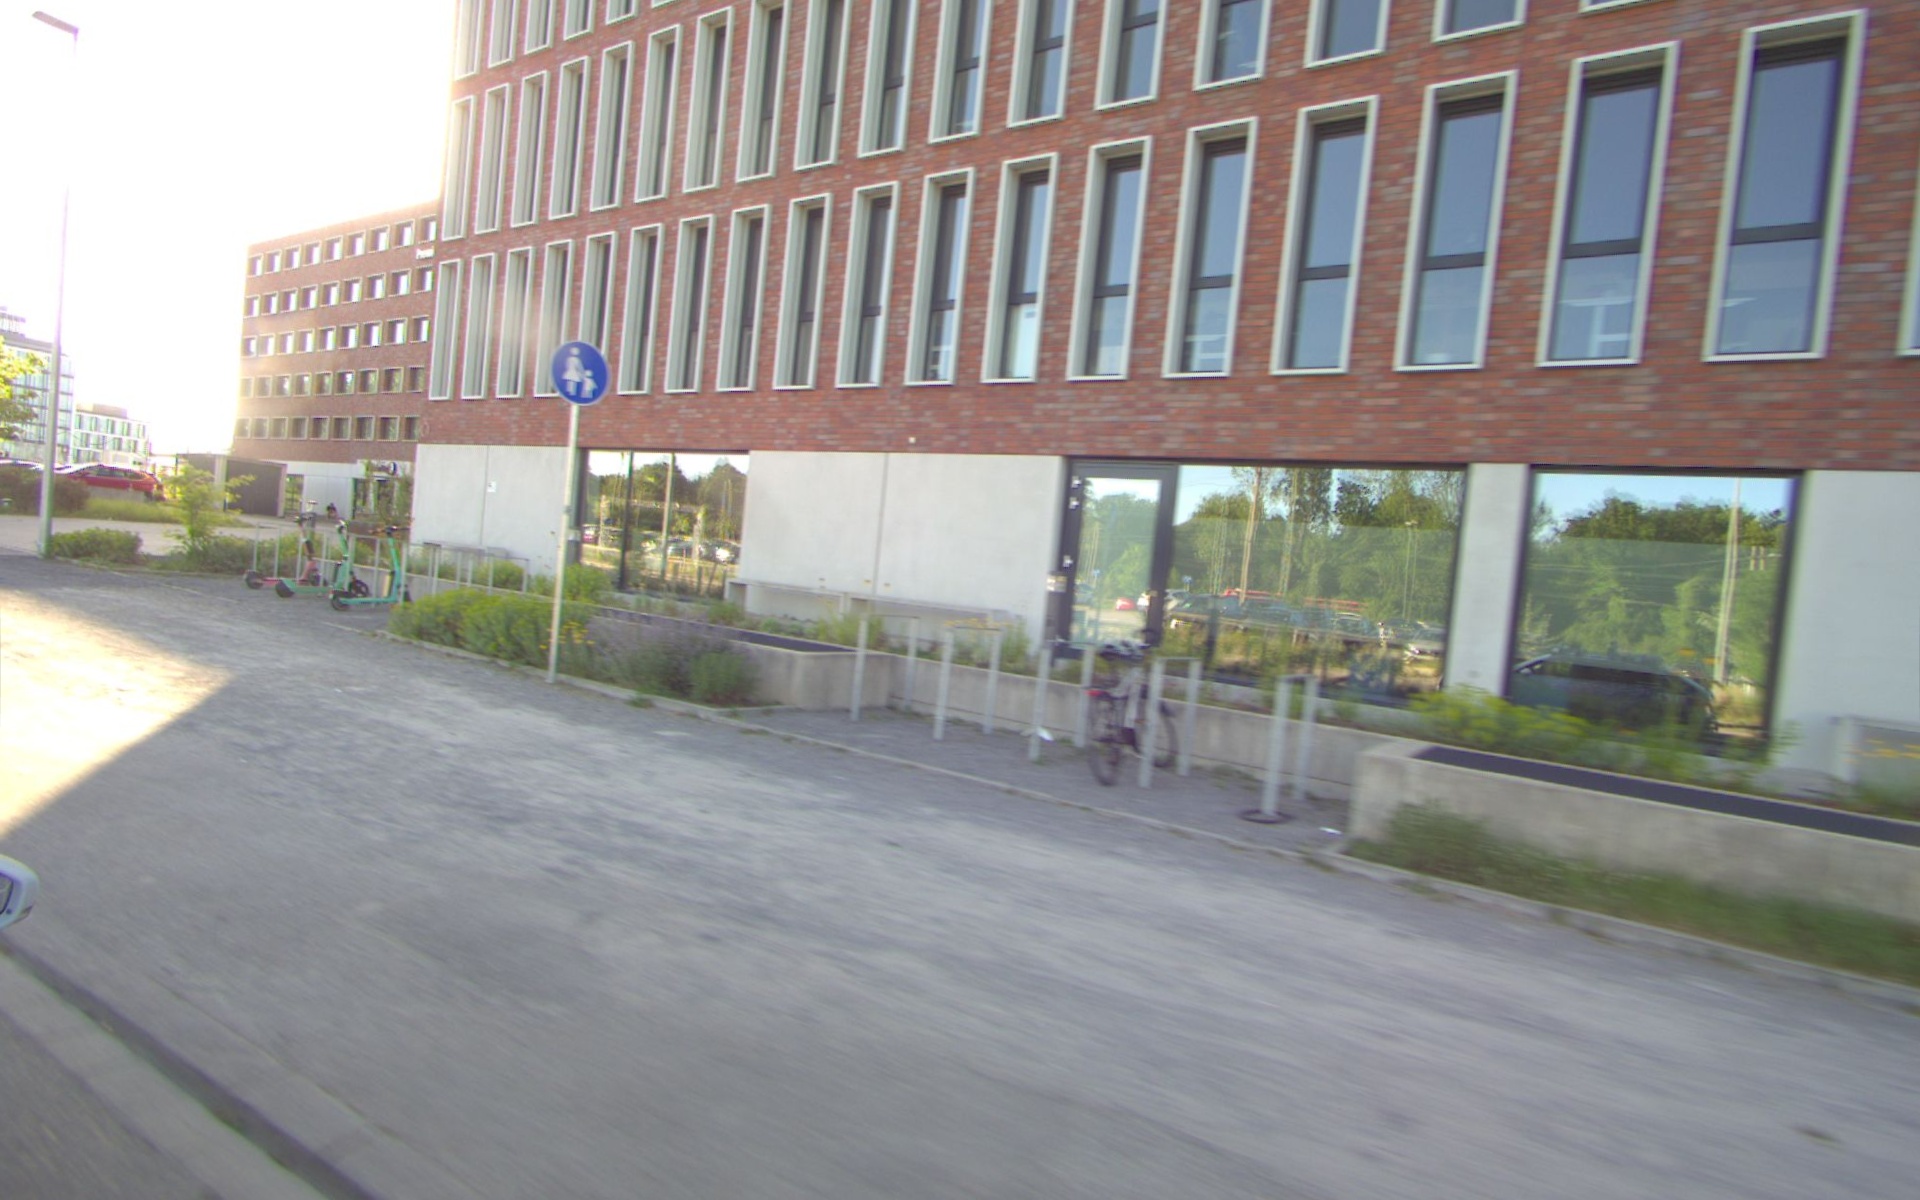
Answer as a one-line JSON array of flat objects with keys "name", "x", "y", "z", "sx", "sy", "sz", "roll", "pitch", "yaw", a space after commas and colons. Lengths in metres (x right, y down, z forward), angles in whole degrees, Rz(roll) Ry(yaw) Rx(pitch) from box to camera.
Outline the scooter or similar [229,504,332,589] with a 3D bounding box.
[{"name": "scooter or similar", "x": -10.747, "y": -0.828, "z": 15.935, "sx": 0.335, "sy": 1.211, "sz": 1.242, "roll": 8, "pitch": 3, "yaw": 36}]

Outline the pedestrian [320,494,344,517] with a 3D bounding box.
[{"name": "pedestrian", "x": -41.345, "y": -6.234, "z": 66.257, "sx": 0.993, "sy": 1.327, "sz": 0.929, "roll": 8, "pitch": 2, "yaw": 32}]

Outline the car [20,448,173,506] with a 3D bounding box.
[{"name": "car", "x": -33.876, "y": -4.798, "z": 39.559, "sx": 1.822, "sy": 1.600, "sz": 4.184, "roll": 7, "pitch": 1, "yaw": 35}]

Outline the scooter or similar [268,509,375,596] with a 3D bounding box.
[{"name": "scooter or similar", "x": -9.549, "y": -0.688, "z": 15.064, "sx": 0.360, "sy": 1.171, "sz": 1.242, "roll": 8, "pitch": 3, "yaw": 36}]

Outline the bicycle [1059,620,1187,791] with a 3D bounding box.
[{"name": "bicycle", "x": 1.369, "y": 0.777, "z": 8.156, "sx": 0.368, "sy": 1.185, "sz": 1.934, "roll": 7, "pitch": 3, "yaw": 26}]

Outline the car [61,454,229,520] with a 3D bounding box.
[{"name": "car", "x": -28.556, "y": -3.927, "z": 35.355, "sx": 1.822, "sy": 1.600, "sz": 4.184, "roll": 8, "pitch": 1, "yaw": 35}]

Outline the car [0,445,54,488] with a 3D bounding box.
[{"name": "car", "x": -45.445, "y": -6.473, "z": 47.224, "sx": 1.822, "sy": 1.727, "sz": 3.987, "roll": 8, "pitch": 1, "yaw": 35}]

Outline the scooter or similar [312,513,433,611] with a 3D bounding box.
[{"name": "scooter or similar", "x": -8.282, "y": -0.516, "z": 14.218, "sx": 0.417, "sy": 1.262, "sz": 1.339, "roll": 8, "pitch": 3, "yaw": 36}]

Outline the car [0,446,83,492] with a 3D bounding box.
[{"name": "car", "x": -42.819, "y": -6.083, "z": 45.624, "sx": 1.822, "sy": 1.600, "sz": 4.184, "roll": 8, "pitch": 1, "yaw": 35}]
